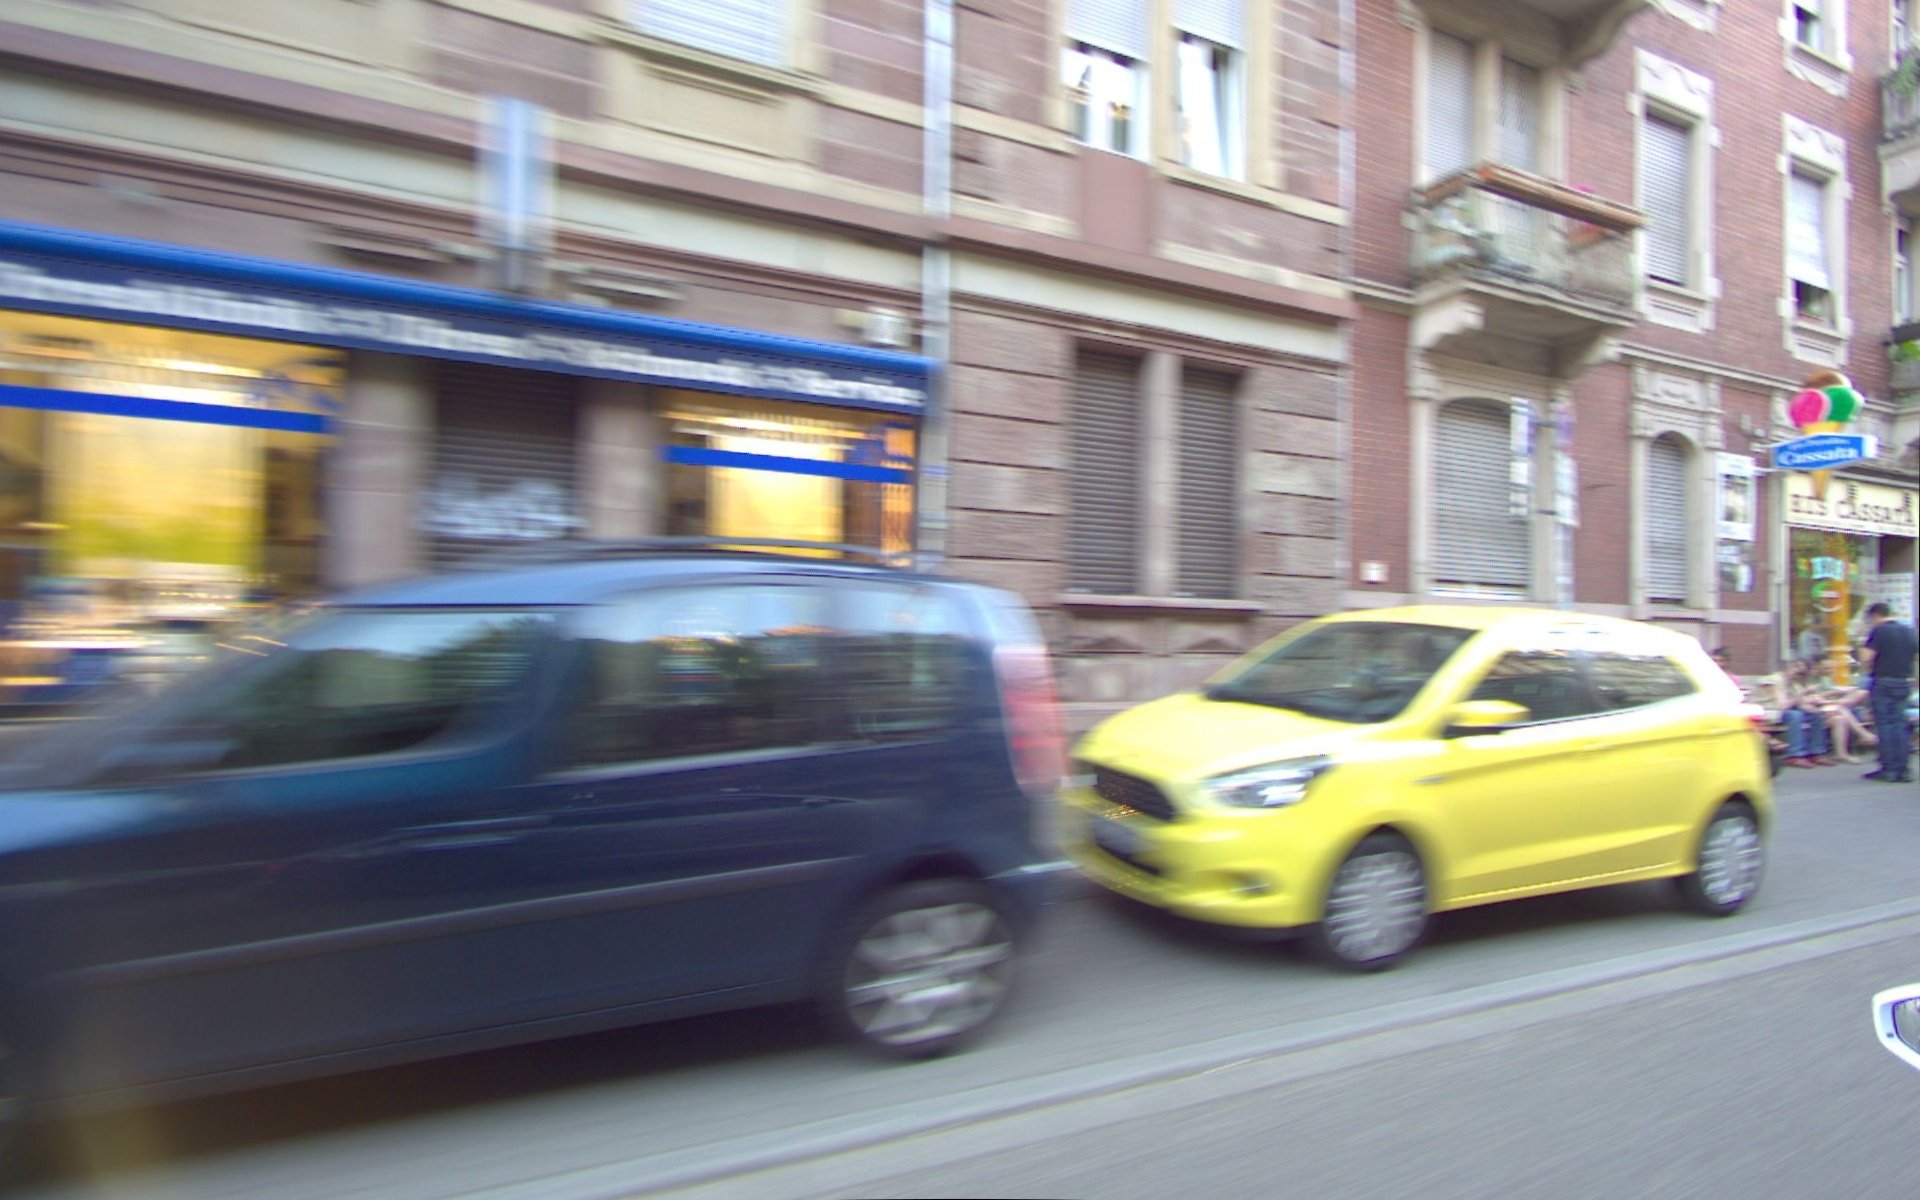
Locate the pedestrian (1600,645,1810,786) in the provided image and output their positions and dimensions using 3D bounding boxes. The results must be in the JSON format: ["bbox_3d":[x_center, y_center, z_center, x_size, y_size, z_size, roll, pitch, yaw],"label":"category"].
[{"bbox_3d":[7.418,1.106,10.080,0.633,1.219,1.556,2,-1,-27],"label":"pedestrian"}]

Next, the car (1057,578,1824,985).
[{"bbox_3d":[2.572,0.752,5.378,3.740,1.550,1.701,2,-1,-24],"label":"car"}]

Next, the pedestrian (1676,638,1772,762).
[{"bbox_3d":[8.282,1.064,10.897,0.578,1.268,0.616,2,0,-27],"label":"pedestrian"}]

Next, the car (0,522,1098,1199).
[{"bbox_3d":[-1.715,0.672,3.431,3.914,1.617,1.922,2,-1,-24],"label":"car"}]

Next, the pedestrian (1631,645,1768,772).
[{"bbox_3d":[7.796,1.117,10.625,0.497,1.219,1.035,2,0,-27],"label":"pedestrian"}]

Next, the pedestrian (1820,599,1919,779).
[{"bbox_3d":[9.327,0.885,10.218,0.573,1.753,0.621,2,0,3],"label":"pedestrian"}]

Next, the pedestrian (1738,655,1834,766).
[{"bbox_3d":[9.196,1.212,11.188,0.566,1.155,0.629,2,0,-27],"label":"pedestrian"}]
